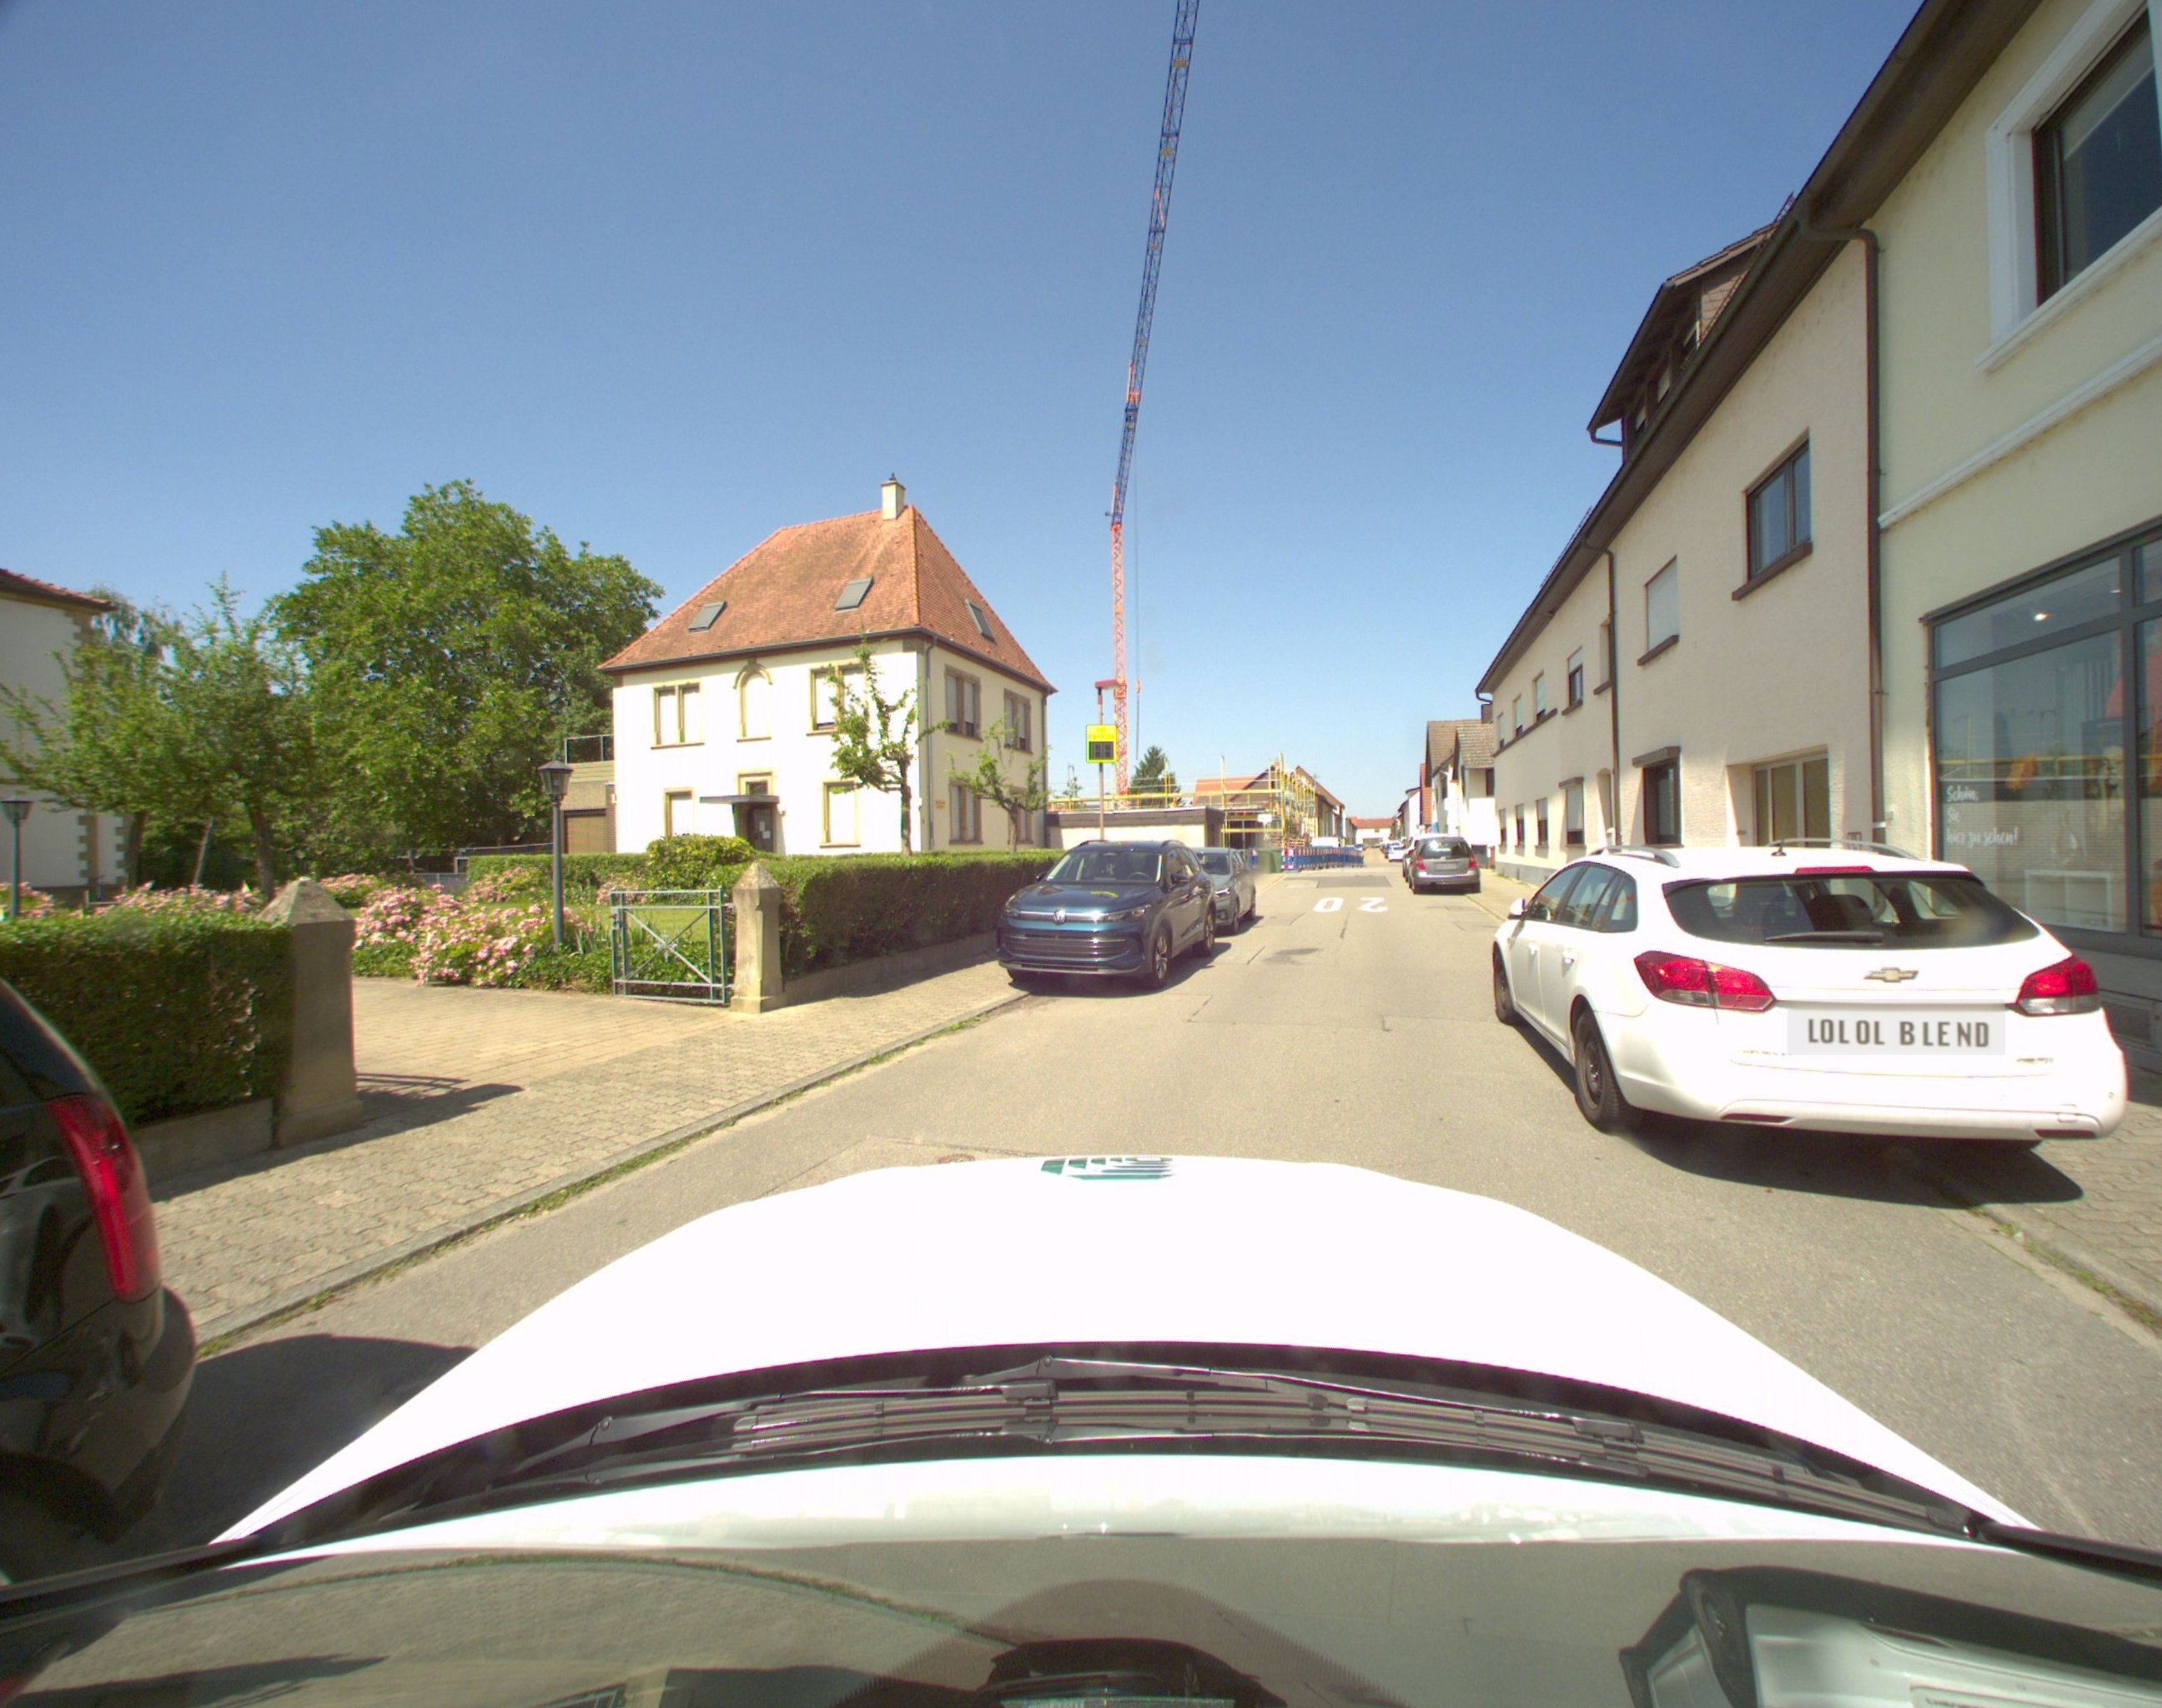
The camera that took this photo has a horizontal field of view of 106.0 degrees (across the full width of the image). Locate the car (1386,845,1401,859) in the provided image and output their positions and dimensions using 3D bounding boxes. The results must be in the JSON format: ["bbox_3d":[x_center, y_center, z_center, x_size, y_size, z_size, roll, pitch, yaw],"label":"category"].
[{"bbox_3d":[35.526,-0.225,92.626,1.542,1.387,3.467,-2,1,19],"label":"car"}]

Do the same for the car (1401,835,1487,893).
[{"bbox_3d":[10.564,0.259,23.975,1.869,1.556,3.912,-1,0,18],"label":"car"}]

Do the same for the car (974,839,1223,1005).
[{"bbox_3d":[0.480,0.665,10.383,1.811,1.630,4.239,-2,0,21],"label":"car"}]

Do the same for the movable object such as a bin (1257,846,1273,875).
[{"bbox_3d":[7.716,0.273,34.092,0.617,1.155,0.680,-2,1,13],"label":"movable object such as a bin"}]

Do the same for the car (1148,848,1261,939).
[{"bbox_3d":[2.453,0.663,15.439,1.424,1.474,3.805,-2,0,19],"label":"car"}]

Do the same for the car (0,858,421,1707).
[{"bbox_3d":[-2.904,0.892,0.294,1.624,1.628,3.787,-2,1,20],"label":"car"}]

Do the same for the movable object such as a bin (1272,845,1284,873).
[{"bbox_3d":[8.307,0.212,34.393,0.428,1.155,0.365,-2,0,10],"label":"movable object such as a bin"}]

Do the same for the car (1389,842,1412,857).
[{"bbox_3d":[30.583,-0.441,78.084,1.951,1.387,4.021,-2,1,21],"label":"car"}]

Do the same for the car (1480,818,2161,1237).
[{"bbox_3d":[3.924,0.624,5.245,1.871,1.542,4.263,-1,0,18],"label":"car"}]

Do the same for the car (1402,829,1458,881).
[{"bbox_3d":[12.306,-0.016,28.883,1.551,1.613,3.561,-2,3,20],"label":"car"}]
